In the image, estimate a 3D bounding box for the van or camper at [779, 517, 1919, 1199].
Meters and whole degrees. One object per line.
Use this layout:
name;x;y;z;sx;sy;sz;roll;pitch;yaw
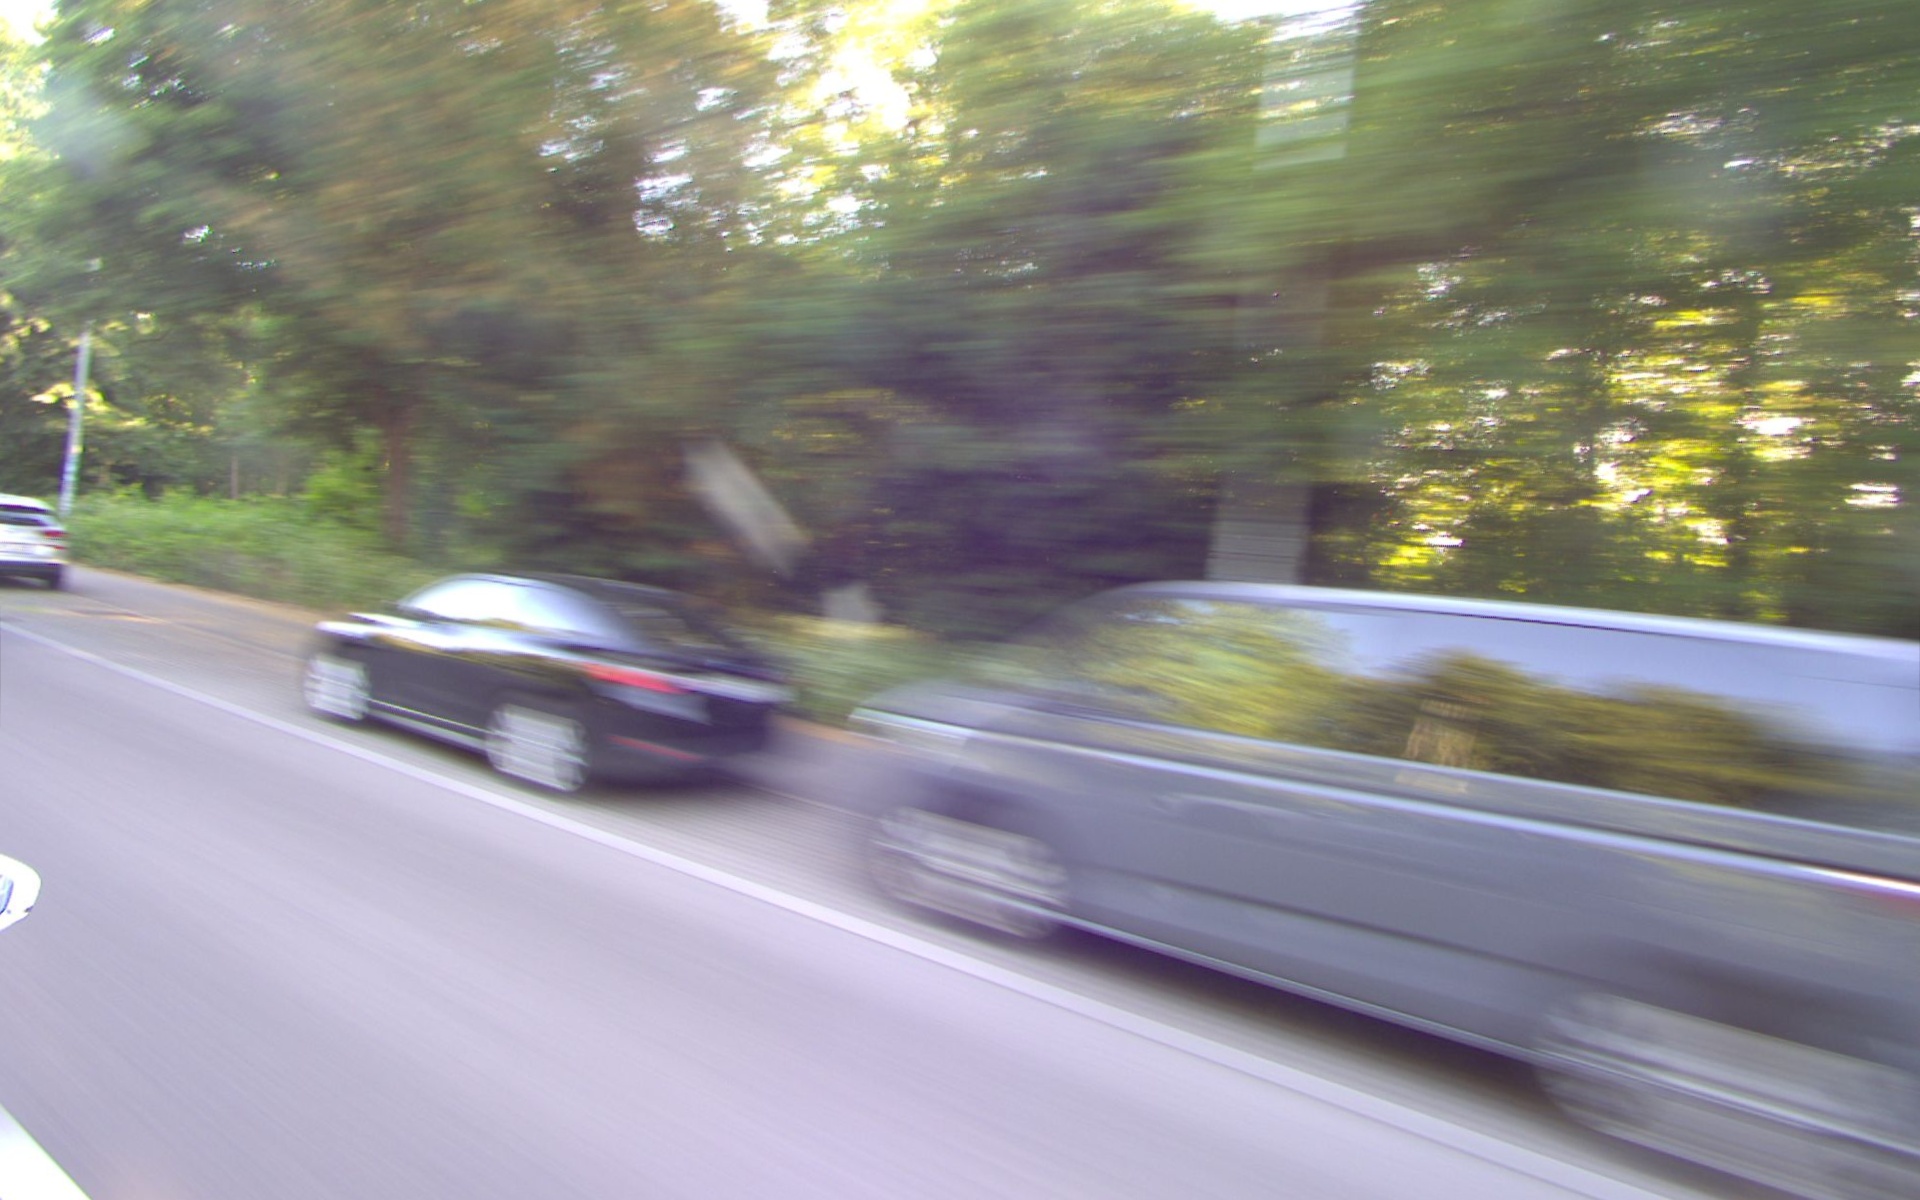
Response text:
van or camper;1.743;0.852;4.865;5.049;1.973;1.894;7;0;33

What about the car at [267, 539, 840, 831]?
car;-3.504;0.489;8.250;4.876;1.460;1.839;7;1;33

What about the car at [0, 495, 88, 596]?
car;-16.511;-1.065;16.772;4.591;1.460;1.729;7;1;33
